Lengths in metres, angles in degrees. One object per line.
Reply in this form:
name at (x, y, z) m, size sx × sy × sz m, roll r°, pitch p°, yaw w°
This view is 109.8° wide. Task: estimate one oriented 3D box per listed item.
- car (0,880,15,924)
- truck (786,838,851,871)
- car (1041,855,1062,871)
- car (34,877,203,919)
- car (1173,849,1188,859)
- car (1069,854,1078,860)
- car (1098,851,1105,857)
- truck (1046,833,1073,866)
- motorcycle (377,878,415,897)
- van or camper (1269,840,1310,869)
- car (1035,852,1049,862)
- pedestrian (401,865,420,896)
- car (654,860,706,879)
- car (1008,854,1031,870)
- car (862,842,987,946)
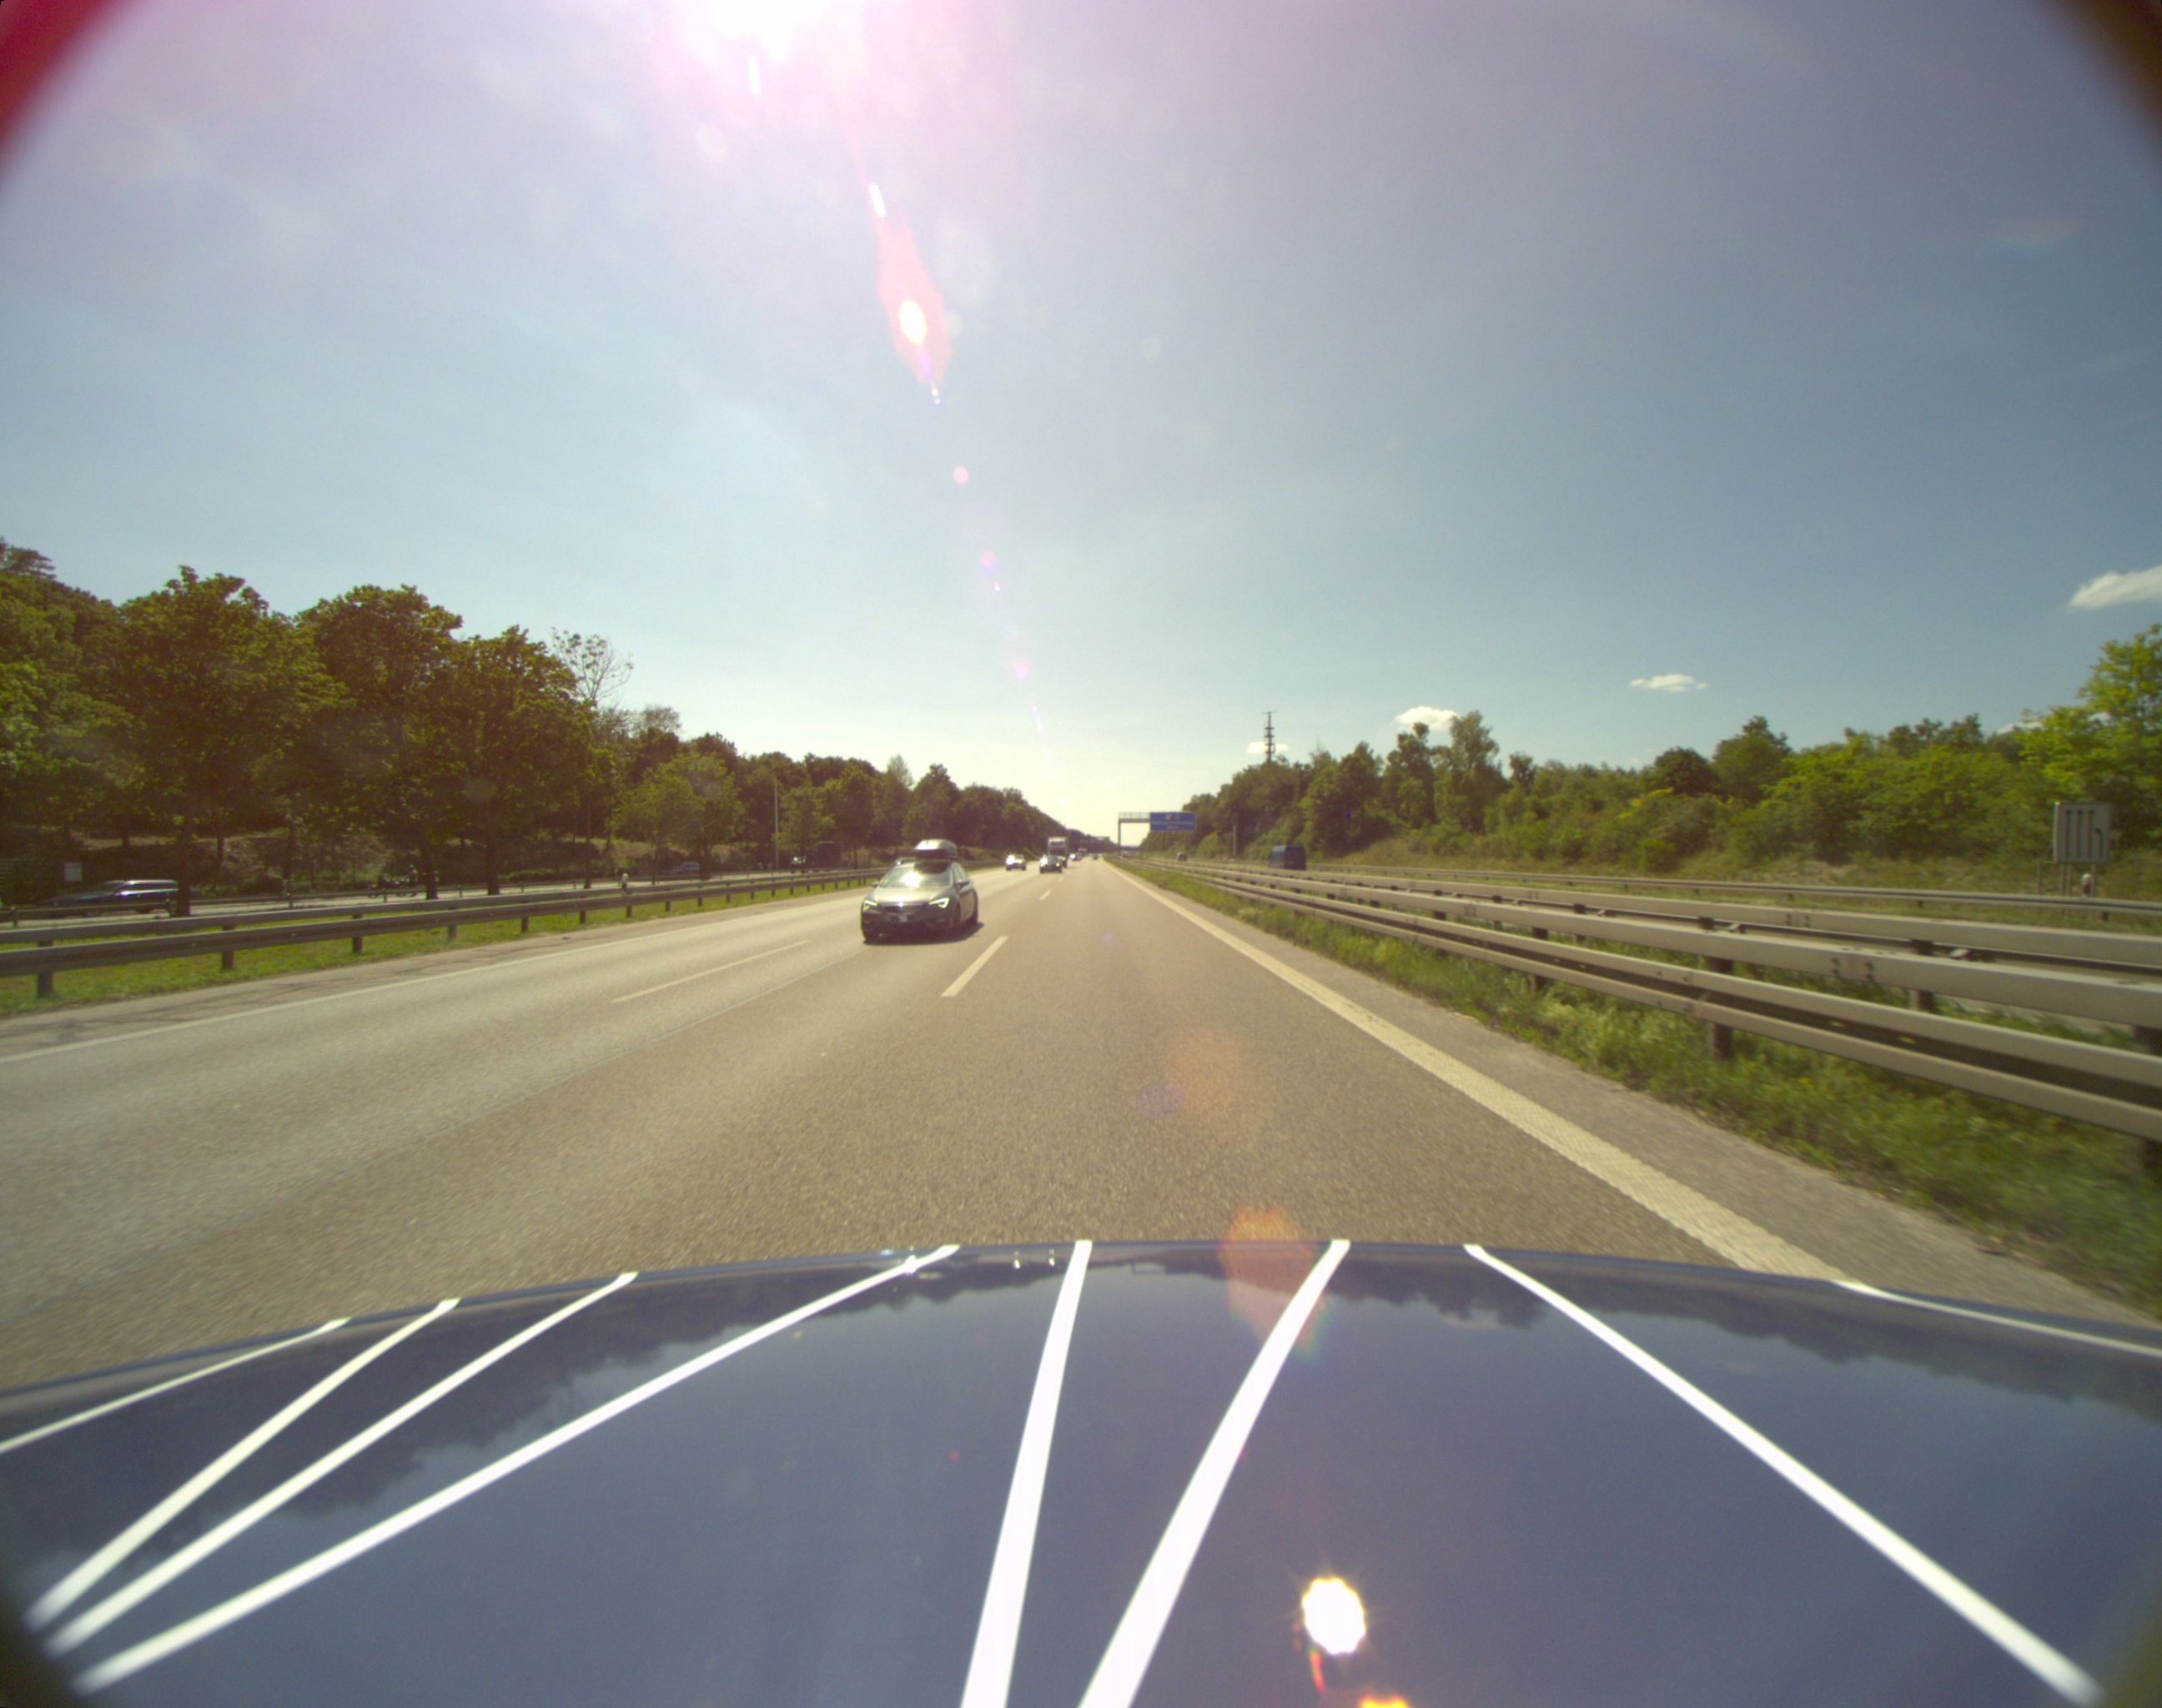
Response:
car at (-41.490, 1.846, 26.580) m, size 1.660 × 1.666 × 4.652 m, roll -1°, pitch 1°, yaw 2°
truck at (-32.597, 0.059, 94.802) m, size 3.290 × 3.924 × 9.359 m, roll 0°, pitch 0°, yaw 12°
car at (-2.453, 0.757, 63.736) m, size 1.537 × 1.265 × 2.770 m, roll -1°, pitch 0°, yaw 2°
car at (-41.156, 1.841, 32.644) m, size 1.997 × 1.565 × 4.003 m, roll -1°, pitch 0°, yaw 9°
car at (18.662, -0.073, 142.627) m, size 1.999 × 1.824 × 5.332 m, roll 2°, pitch 0°, yaw -1°
car at (-1.555, 0.599, 165.388) m, size 1.831 × 1.346 × 3.680 m, roll 0°, pitch 0°, yaw 2°
car at (4.818, 0.042, 176.793) m, size 1.591 × 1.291 × 3.383 m, roll 0°, pitch 0°, yaw 2°
truck at (-2.427, -0.554, 88.471) m, size 2.676 × 3.661 × 6.484 m, roll -1°, pitch 0°, yaw 2°
motorcycle at (-40.398, 1.969, 44.842) m, size 0.559 × 1.024 × 1.673 m, roll -1°, pitch 0°, yaw 7°
van or camper at (18.140, 0.053, 66.435) m, size 1.998 × 2.378 × 6.241 m, roll 0°, pitch 0°, yaw 1°
car at (-6.991, 0.471, 135.746) m, size 1.924 × 1.659 × 4.687 m, roll -2°, pitch 0°, yaw 4°
pedestrian at (-39.743, 1.568, 45.054) m, size 0.802 × 1.772 × 0.641 m, roll -1°, pitch 1°, yaw -38°
car at (-37.357, 1.452, 70.901) m, size 1.997 × 1.641 × 4.321 m, roll 0°, pitch 0°, yaw 10°
car at (-6.359, 0.776, 78.888) m, size 1.847 × 1.559 × 4.036 m, roll -2°, pitch 0°, yaw 2°
car at (-3.115, 0.723, 16.092) m, size 1.669 × 1.865 × 4.827 m, roll 0°, pitch 0°, yaw 0°
